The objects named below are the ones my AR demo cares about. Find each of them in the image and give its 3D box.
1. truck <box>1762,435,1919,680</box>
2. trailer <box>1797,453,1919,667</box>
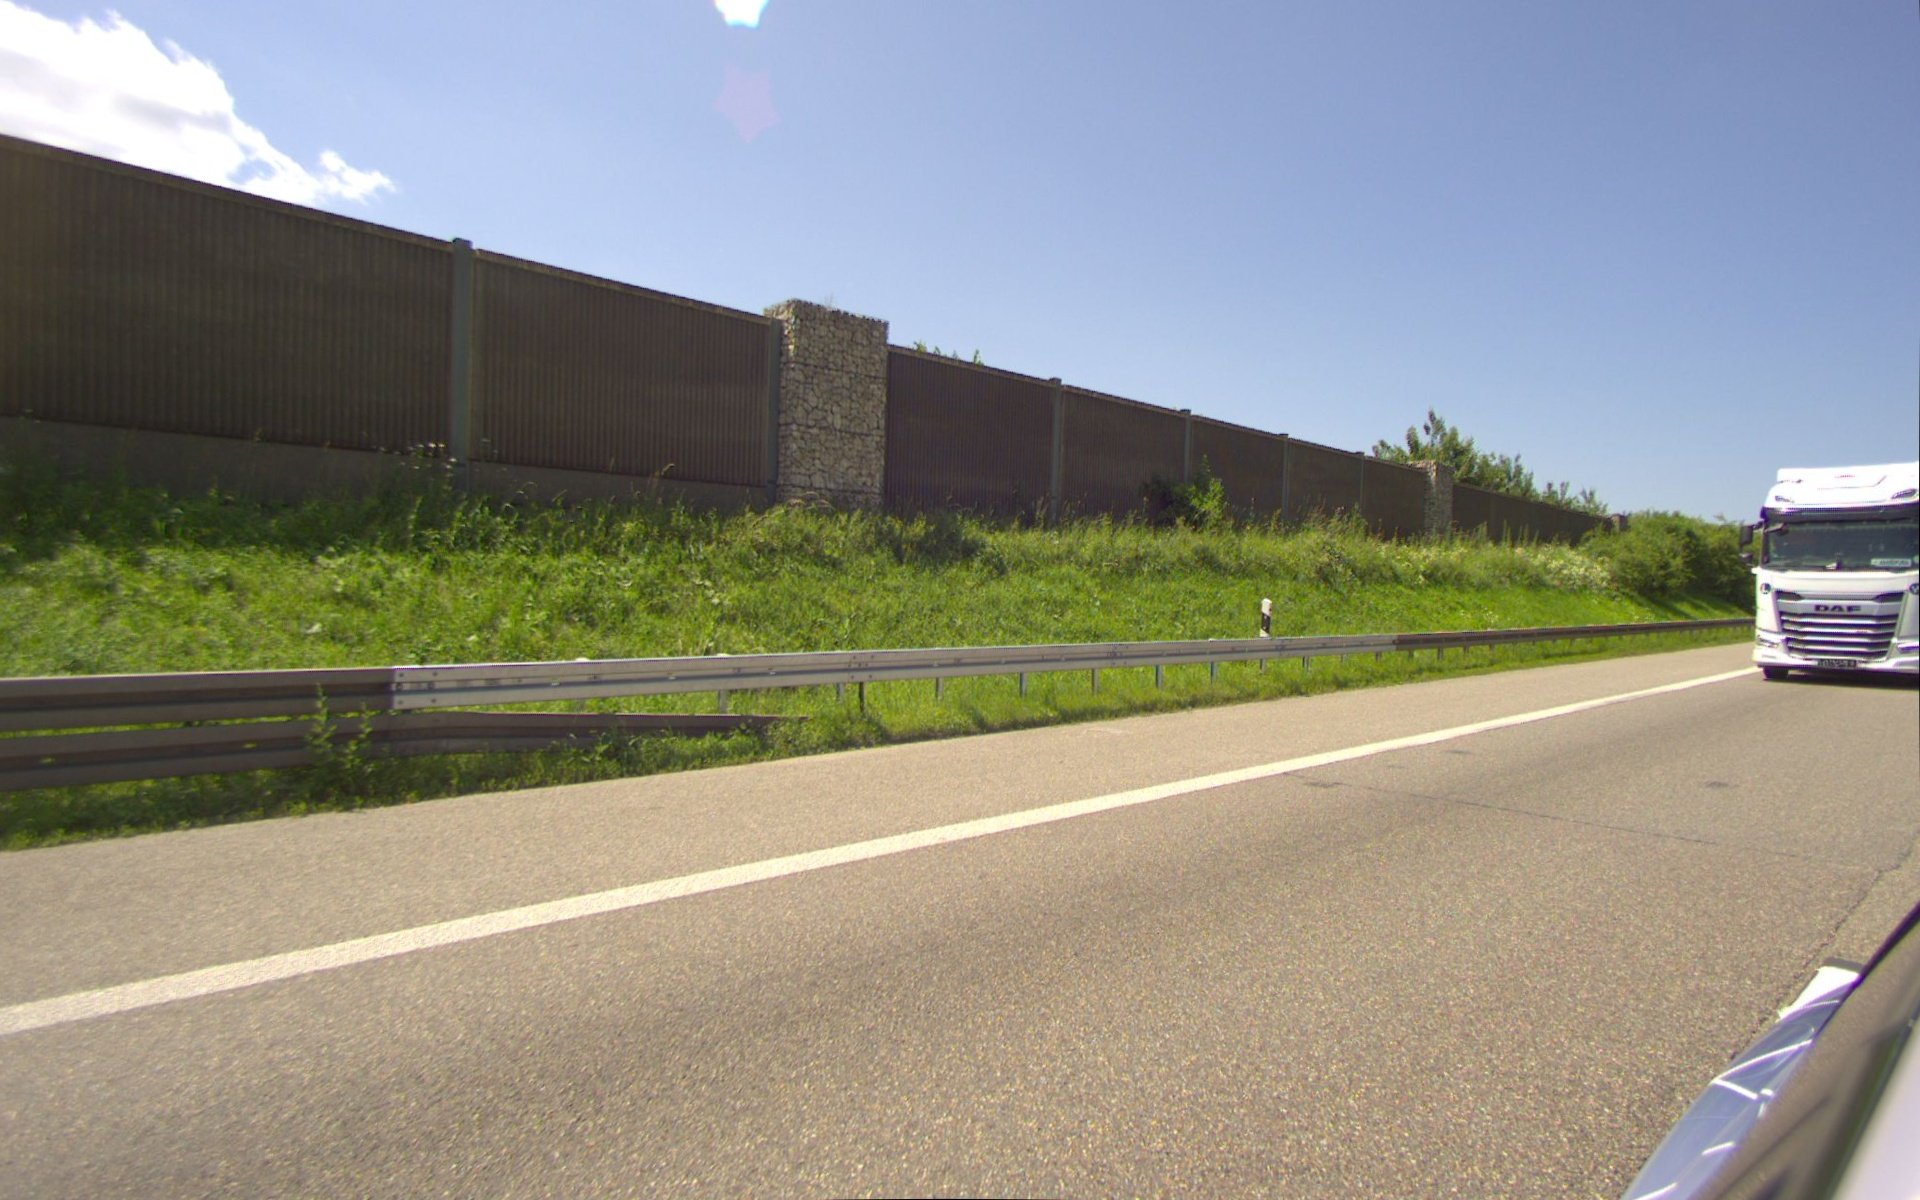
[{"bbox_3d":[17.582,-0.730,19.369,6.272,4.027,2.481,0,1,-42],"label":"truck"},{"bbox_3d":[22.652,-0.796,23.934,13.421,4.027,2.481,0,1,-42],"label":"trailer"}]
